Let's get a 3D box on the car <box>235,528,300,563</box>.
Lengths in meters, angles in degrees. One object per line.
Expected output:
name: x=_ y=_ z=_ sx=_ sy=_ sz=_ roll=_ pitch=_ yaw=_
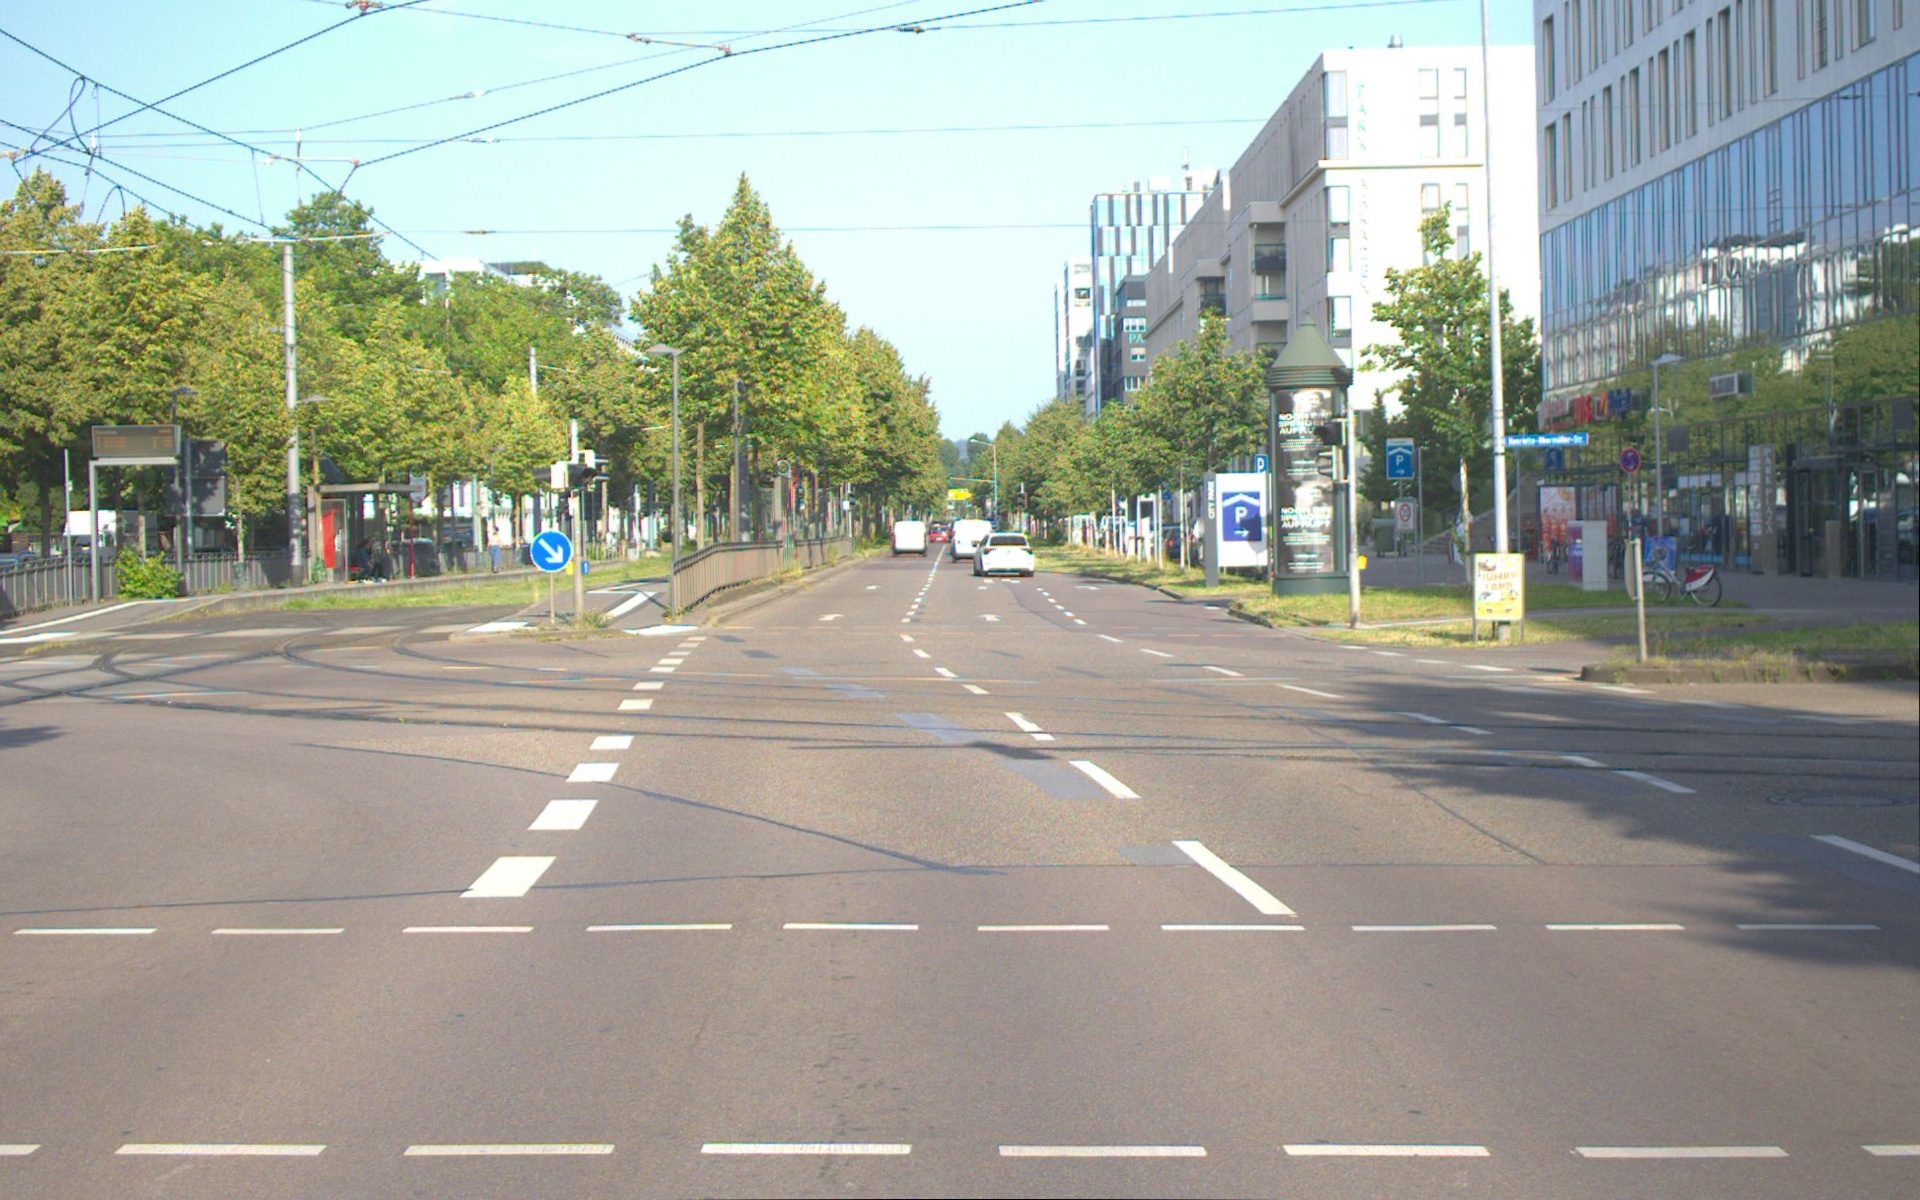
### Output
car: x=-32.360 y=-2.549 z=160.728 sx=1.881 sy=1.554 sz=3.999 roll=-1 pitch=1 yaw=5

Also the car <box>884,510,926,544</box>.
car: x=-2.796 y=-3.721 z=174.837 sx=2.015 sy=1.678 sz=4.000 roll=1 pitch=2 yaw=1

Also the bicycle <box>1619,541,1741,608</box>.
bicycle: x=12.001 y=-0.432 z=57.365 sx=0.771 sy=1.028 sz=1.878 roll=-2 pitch=4 yaw=-43

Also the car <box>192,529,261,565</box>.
car: x=-32.899 y=-2.368 z=154.311 sx=1.881 sy=1.554 sz=3.999 roll=-1 pitch=1 yaw=5

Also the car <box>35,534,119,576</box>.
car: x=-34.383 y=-1.758 z=133.909 sx=1.881 sy=1.554 sz=3.999 roll=-1 pitch=1 yaw=5

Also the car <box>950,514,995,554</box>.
car: x=0.547 y=-2.854 z=148.339 sx=1.864 sy=1.678 sz=4.000 roll=1 pitch=2 yaw=1

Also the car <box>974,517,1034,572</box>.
car: x=1.423 y=-1.798 z=110.736 sx=1.864 sy=1.678 sz=4.000 roll=1 pitch=2 yaw=1
